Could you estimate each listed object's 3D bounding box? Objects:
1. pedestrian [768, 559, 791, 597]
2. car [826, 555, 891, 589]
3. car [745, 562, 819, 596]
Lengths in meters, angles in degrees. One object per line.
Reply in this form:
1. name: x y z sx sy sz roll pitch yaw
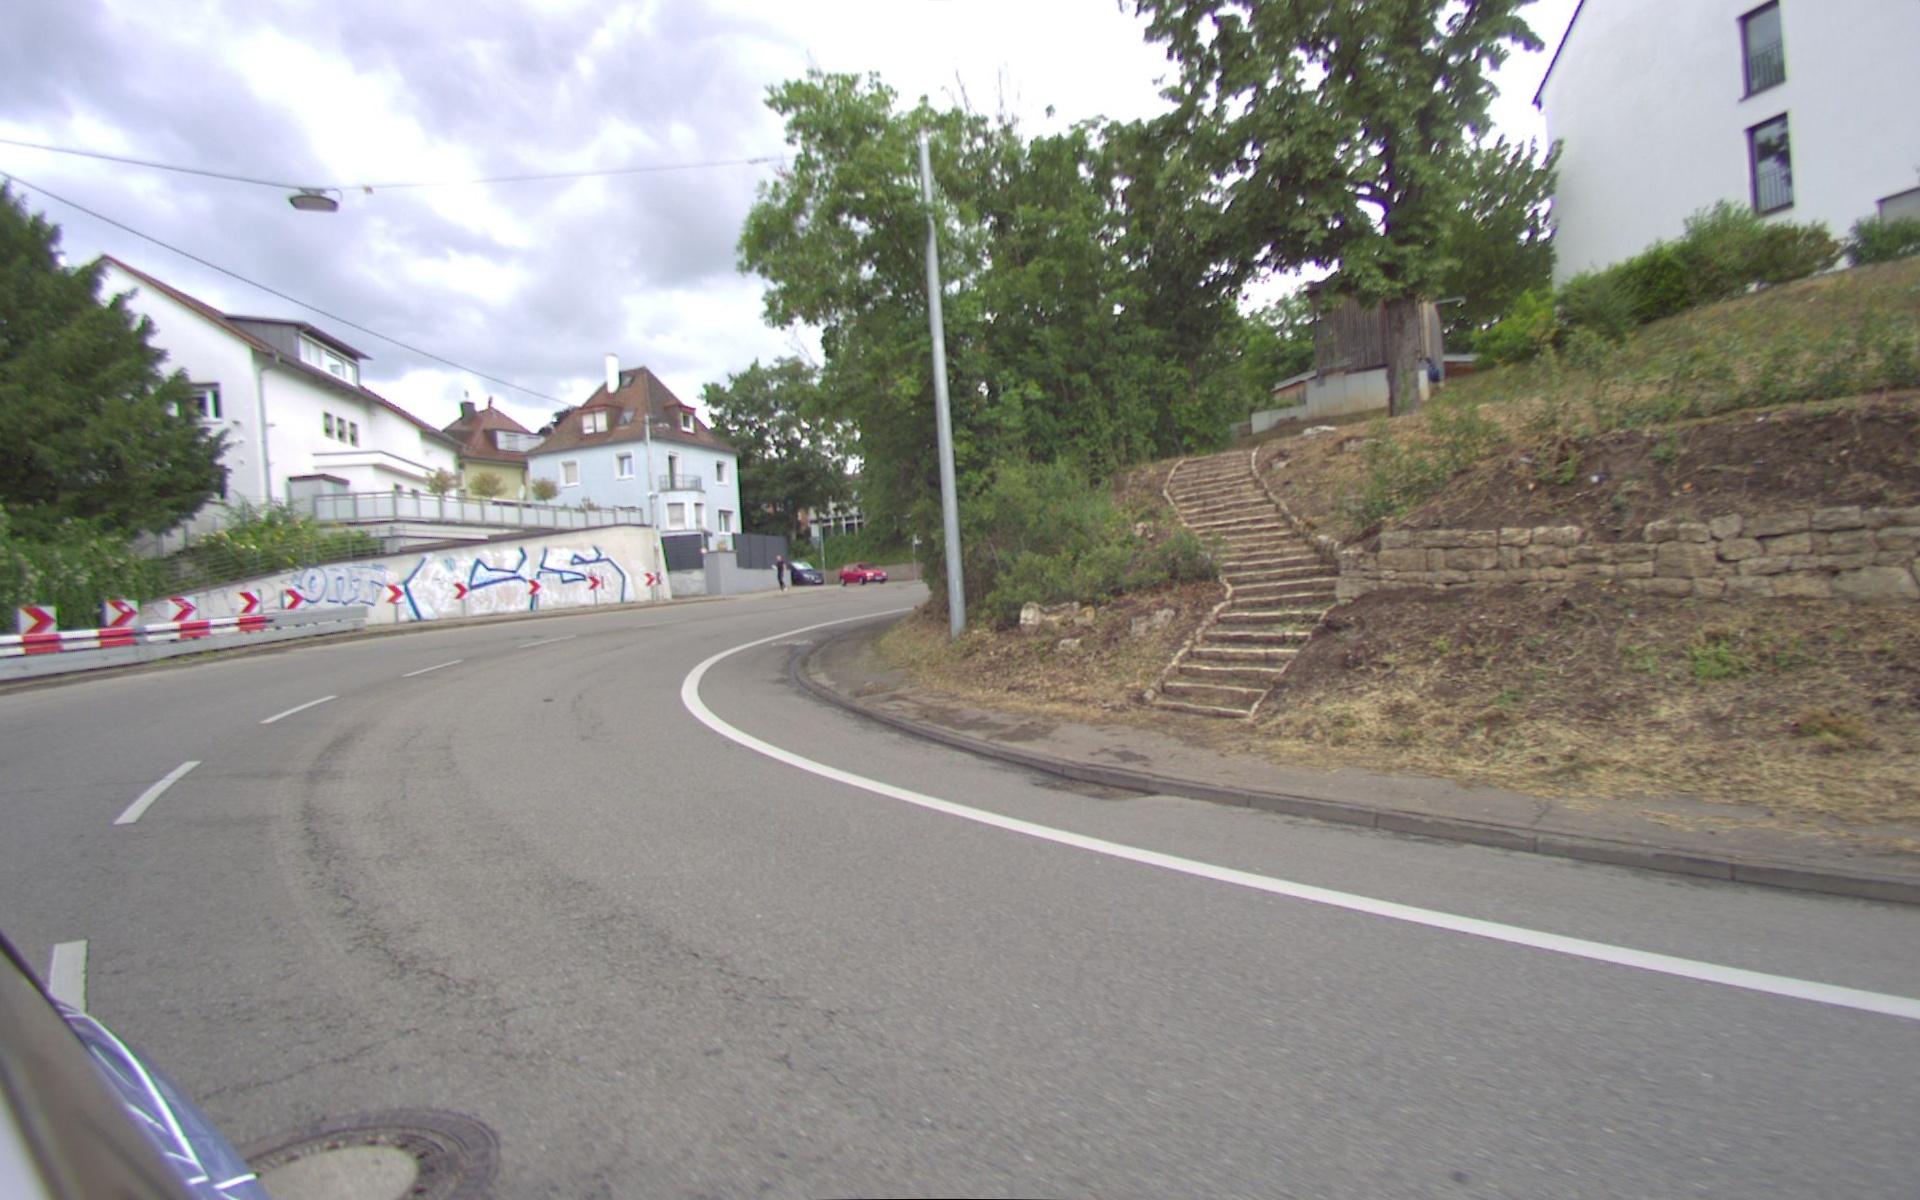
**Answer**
1. pedestrian: -9.237 -1.121 51.751 0.967 1.841 0.576 -4 2 -25
2. car: -6.514 -1.778 64.382 1.919 1.878 4.852 -4 1 -35
3. car: -11.460 -1.351 65.026 4.833 1.878 1.926 -3 1 38
